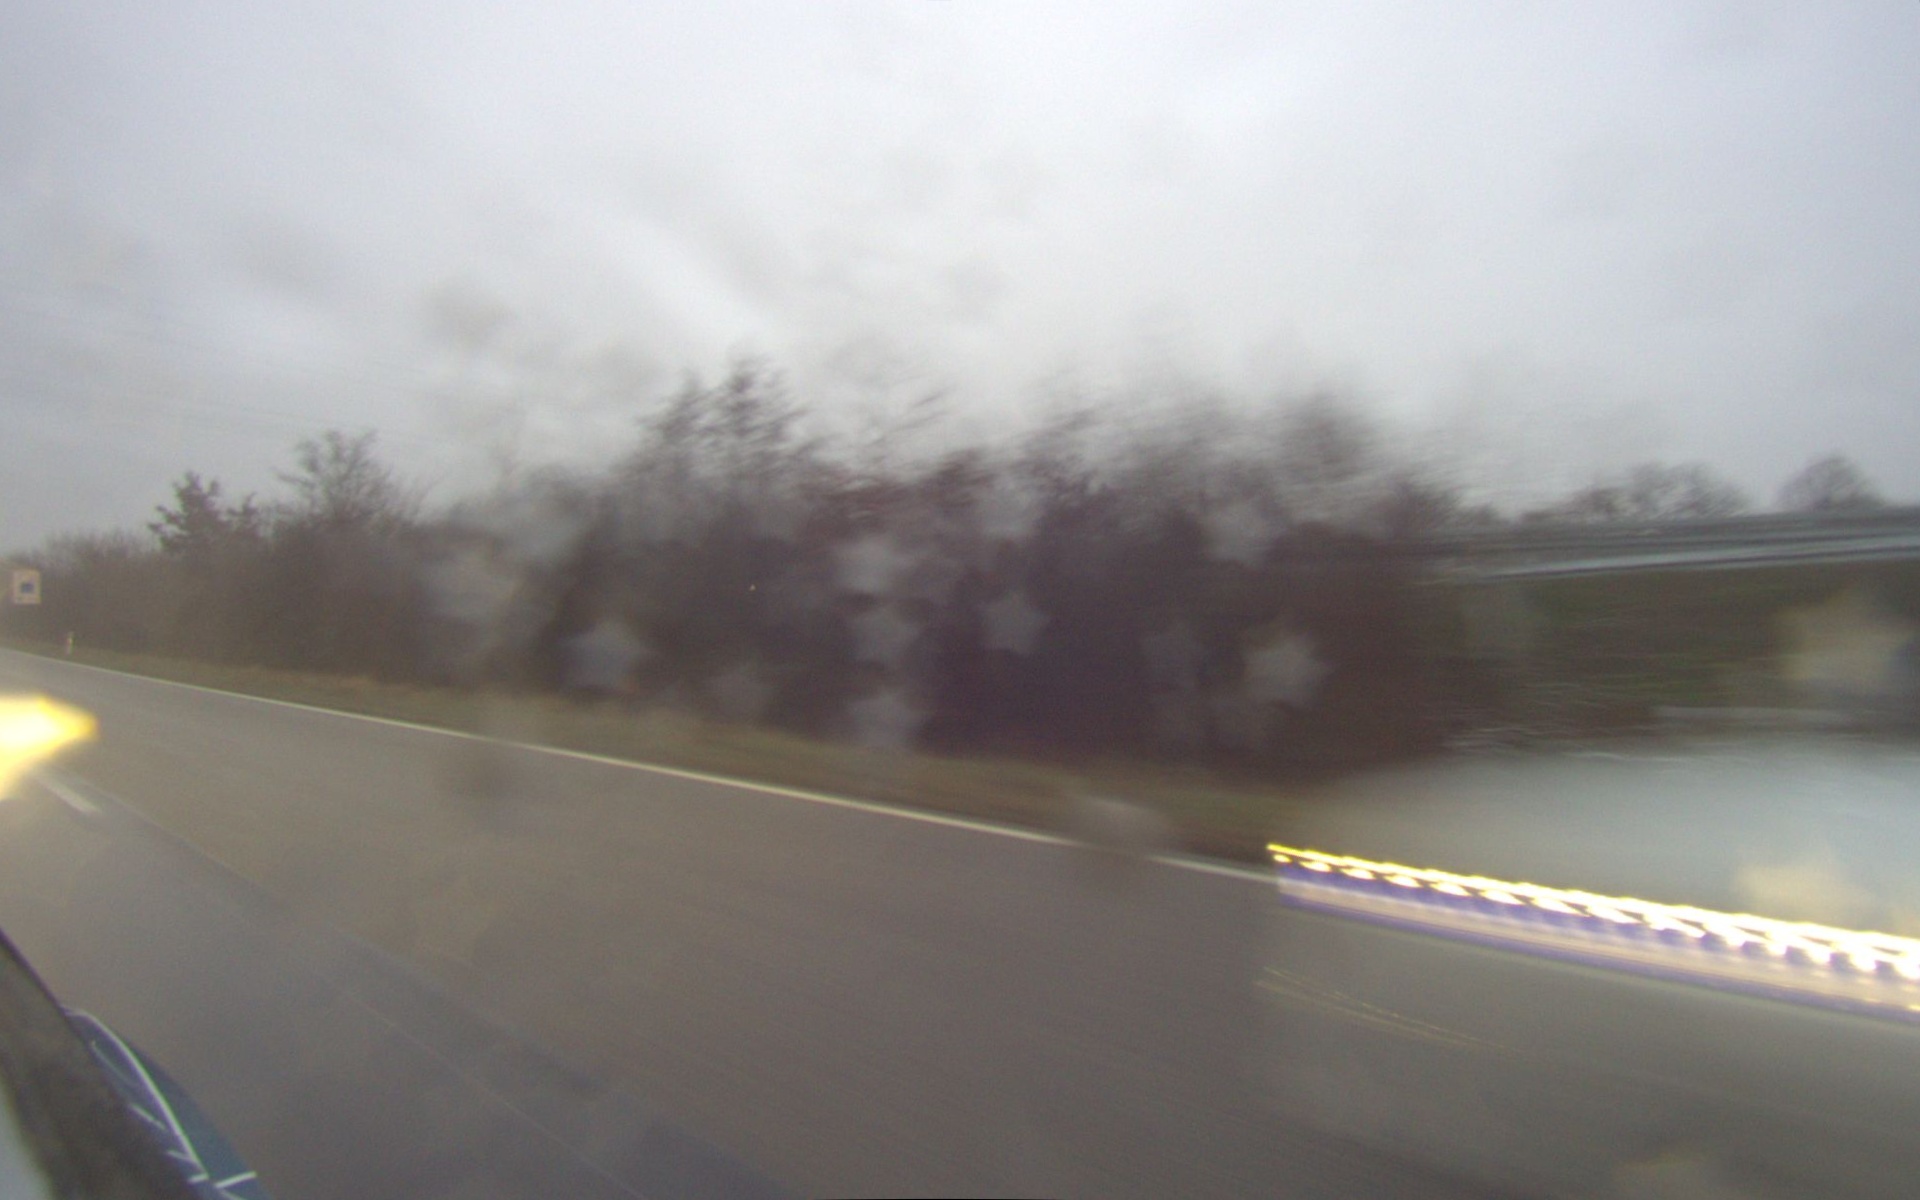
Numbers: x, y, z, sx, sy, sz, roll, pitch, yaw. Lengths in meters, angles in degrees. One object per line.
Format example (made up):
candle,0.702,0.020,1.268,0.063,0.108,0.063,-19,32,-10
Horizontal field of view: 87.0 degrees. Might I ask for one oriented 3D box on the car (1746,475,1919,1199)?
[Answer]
car,3.586,0.570,0.880,4.484,1.603,1.767,-1,-1,41
